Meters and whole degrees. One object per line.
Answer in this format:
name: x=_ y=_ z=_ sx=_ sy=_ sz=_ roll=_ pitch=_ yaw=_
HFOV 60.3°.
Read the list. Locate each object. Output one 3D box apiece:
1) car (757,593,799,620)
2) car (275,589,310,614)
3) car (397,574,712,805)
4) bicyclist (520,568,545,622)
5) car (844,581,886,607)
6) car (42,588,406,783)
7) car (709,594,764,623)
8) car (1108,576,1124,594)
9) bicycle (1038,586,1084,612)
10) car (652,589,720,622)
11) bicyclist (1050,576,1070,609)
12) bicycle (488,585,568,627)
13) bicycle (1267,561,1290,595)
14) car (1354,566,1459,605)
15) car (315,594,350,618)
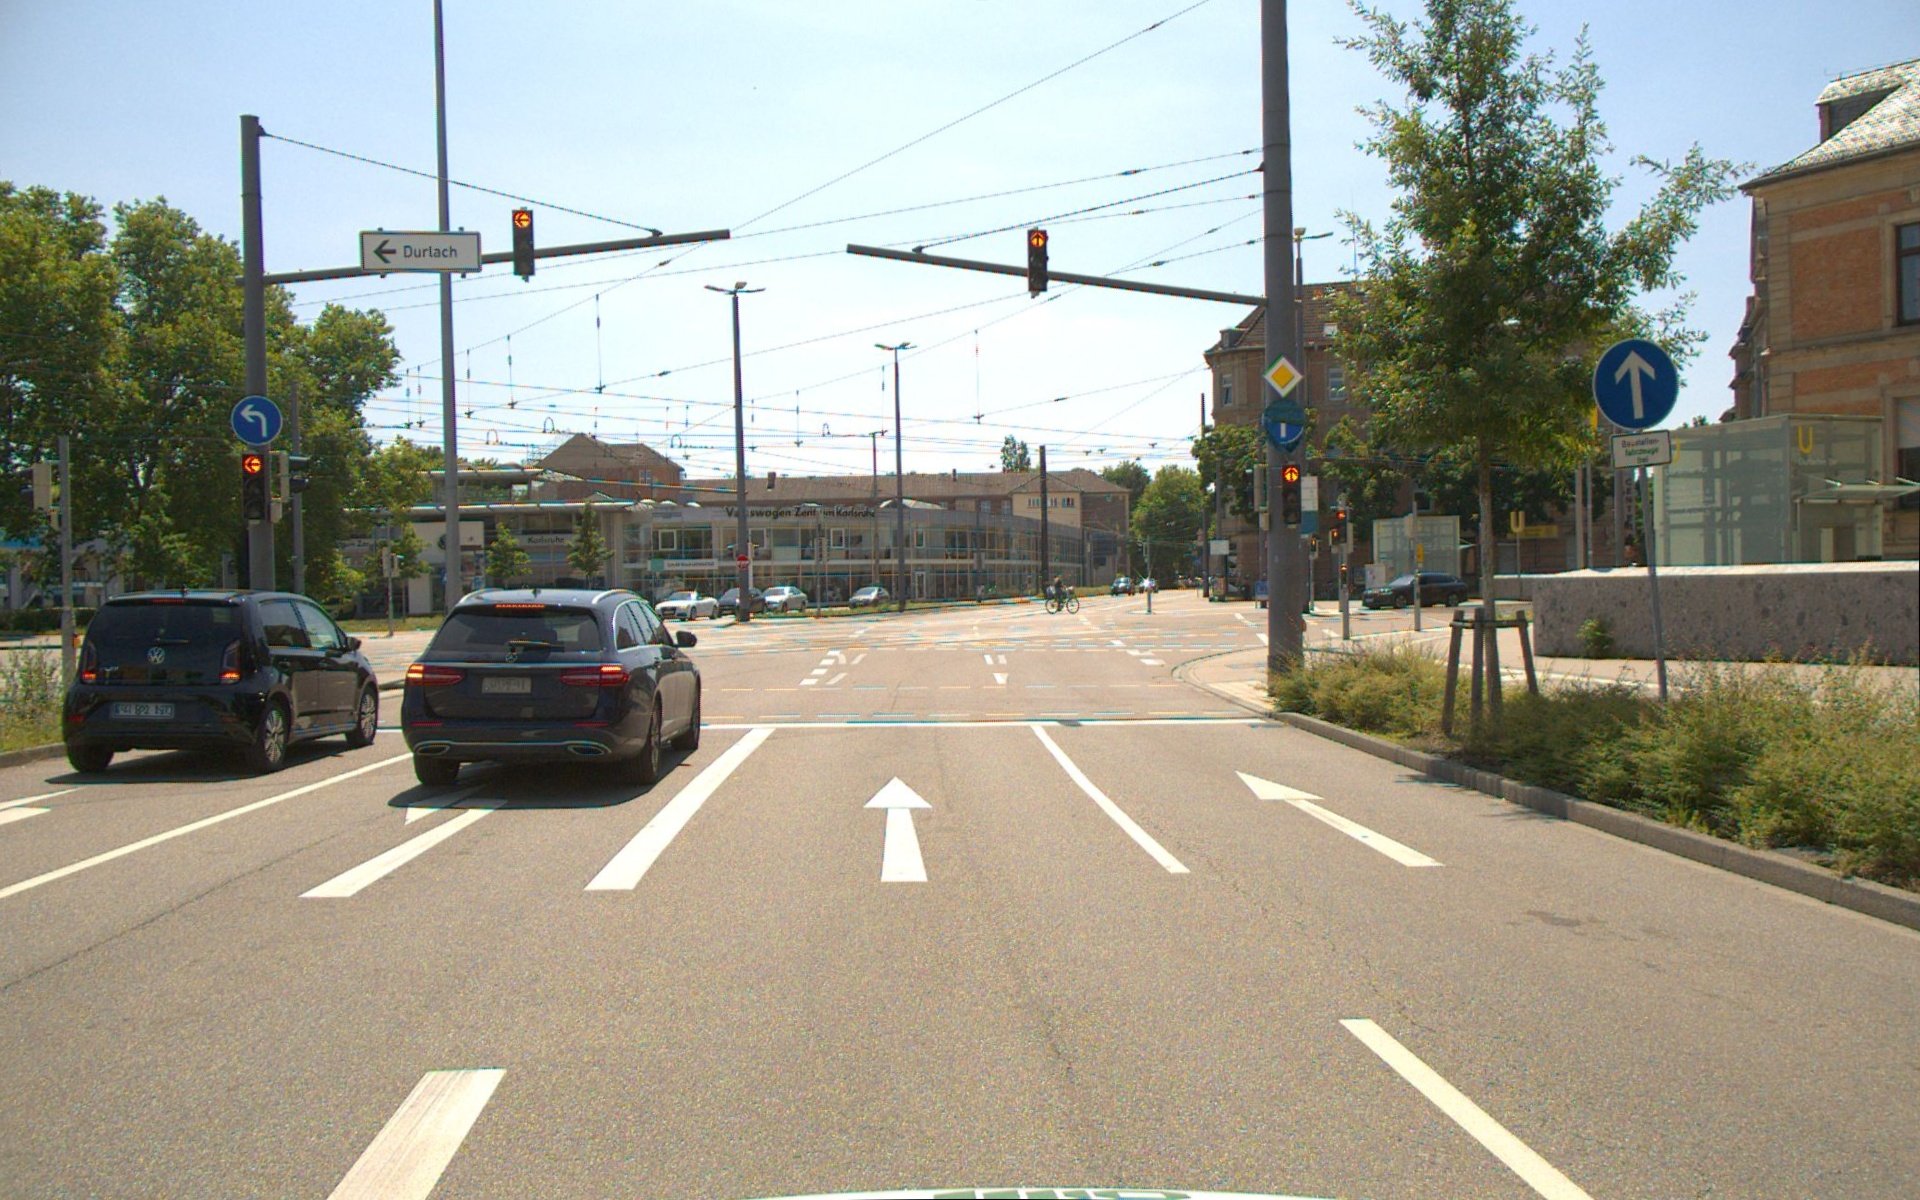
car: x=-9.874 y=0.328 z=89.742 sx=1.401 sy=1.307 sz=3.265 roll=0 pitch=2 yaw=10
car: x=-45.912 y=0.107 z=113.754 sx=1.398 sy=1.534 sz=3.433 roll=-1 pitch=2 yaw=-8
car: x=-3.197 y=0.613 z=13.938 sx=1.682 sy=1.584 sz=4.584 roll=-1 pitch=0 yaw=-3
bicyclist: x=-15.859 y=-0.174 z=61.309 sx=0.748 sy=1.971 sz=0.659 roll=-1 pitch=2 yaw=-4
car: x=-5.897 y=-0.408 z=103.265 sx=1.537 sy=1.452 sz=3.617 roll=0 pitch=2 yaw=15
car: x=-6.385 y=0.653 z=14.857 sx=1.588 sy=1.489 sz=3.998 roll=-1 pitch=0 yaw=-2
car: x=-11.263 y=0.417 z=83.617 sx=1.505 sy=1.300 sz=3.542 roll=0 pitch=2 yaw=15
car: x=14.433 y=-1.406 z=153.151 sx=1.498 sy=1.484 sz=3.555 roll=0 pitch=2 yaw=5
bicycle: x=4.687 y=-0.065 z=76.538 sx=2.129 sy=1.126 sz=0.454 roll=-1 pitch=2 yaw=-20
car: x=-12.816 y=0.239 z=77.627 sx=1.585 sy=1.414 sz=4.128 roll=-1 pitch=0 yaw=14
bicyclist: x=4.639 y=-0.337 z=76.518 sx=0.721 sy=1.505 sz=0.652 roll=-1 pitch=2 yaw=-21
bicycle: x=-15.991 y=0.208 z=61.312 sx=2.770 sy=1.488 sz=0.633 roll=-1 pitch=2 yaw=-5
bicycle: x=18.160 y=-1.254 z=94.373 sx=0.599 sy=1.819 sz=3.181 roll=-1 pitch=2 yaw=-2
car: x=18.412 y=-0.603 z=68.215 sx=4.043 sy=1.476 sz=1.687 roll=-1 pitch=2 yaw=-22
car: x=-42.871 y=0.414 z=113.031 sx=1.481 sy=1.443 sz=3.415 roll=-1 pitch=2 yaw=-8
